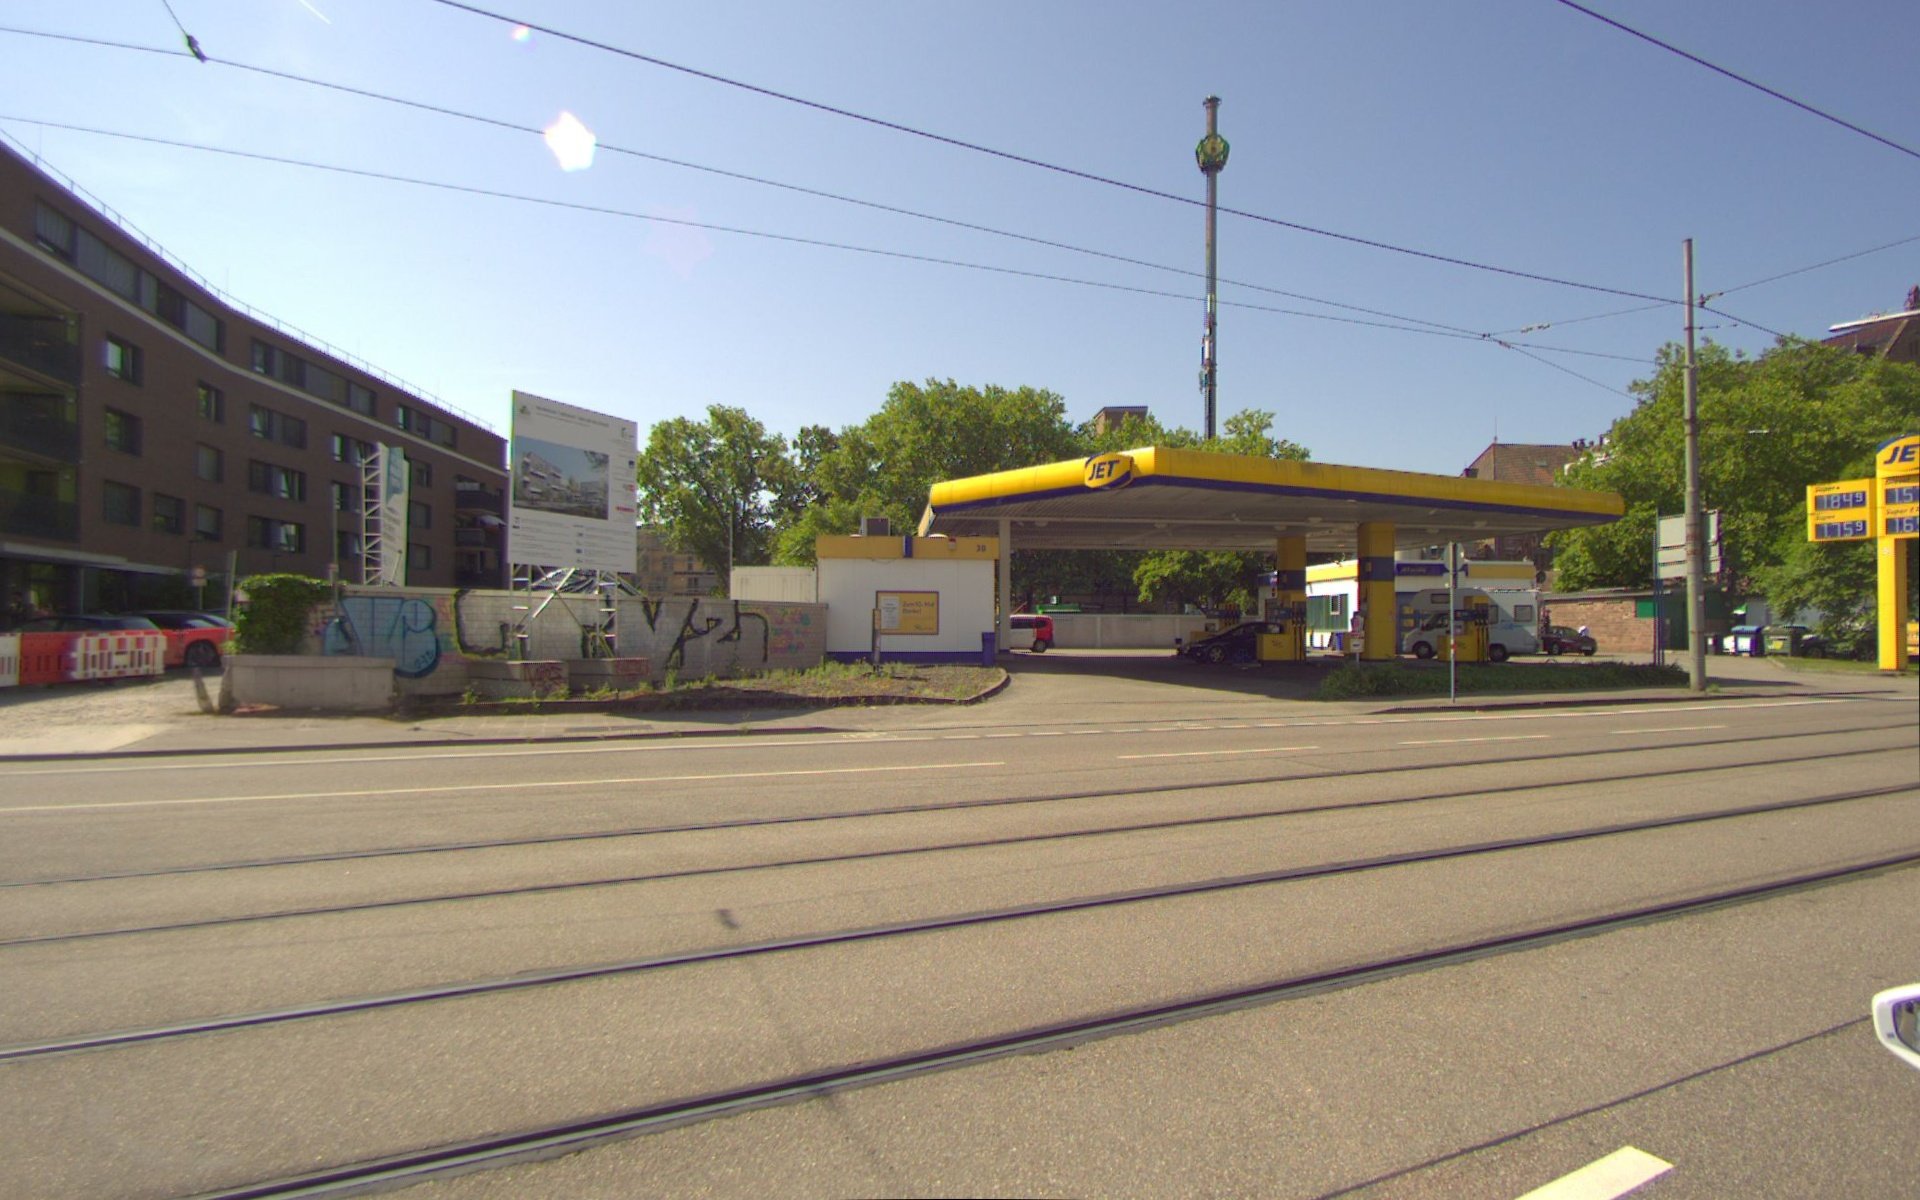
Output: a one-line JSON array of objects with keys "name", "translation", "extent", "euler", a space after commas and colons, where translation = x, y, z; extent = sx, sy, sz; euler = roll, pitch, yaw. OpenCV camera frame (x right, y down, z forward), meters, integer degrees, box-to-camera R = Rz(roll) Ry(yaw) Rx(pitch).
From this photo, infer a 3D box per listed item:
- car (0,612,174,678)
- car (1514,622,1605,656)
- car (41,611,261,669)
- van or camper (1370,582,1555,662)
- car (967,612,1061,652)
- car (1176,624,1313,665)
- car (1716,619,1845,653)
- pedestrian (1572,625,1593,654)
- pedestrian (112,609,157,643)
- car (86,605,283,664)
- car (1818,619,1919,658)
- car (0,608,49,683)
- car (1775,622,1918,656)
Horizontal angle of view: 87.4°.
[{"name": "car", "translation": [-20.576, 0.994, 22.691], "extent": [3.982, 1.384, 1.867], "euler": [1, -1, -8]}, {"name": "car", "translation": [29.908, 1.918, 50.256], "extent": [1.900, 1.547, 4.170], "euler": [1, -1, -3]}, {"name": "car", "translation": [-20.460, 1.004, 25.543], "extent": [3.978, 1.384, 1.869], "euler": [1, -1, -2]}, {"name": "van or camper", "translation": [21.266, 0.832, 42.698], "extent": [6.604, 3.007, 2.607], "euler": [3, 2, 37]}, {"name": "car", "translation": [2.624, 1.575, 49.706], "extent": [4.390, 1.786, 1.777], "euler": [2, 0, -6]}, {"name": "car", "translation": [9.945, 1.543, 35.287], "extent": [4.306, 1.320, 1.701], "euler": [1, 0, -5]}, {"name": "car", "translation": [40.184, 1.760, 49.303], "extent": [4.487, 1.604, 1.950], "euler": [0, -1, 16]}, {"name": "pedestrian", "translation": [32.014, 2.015, 51.644], "extent": [0.630, 1.488, 0.676], "euler": [1, -1, -20]}, {"name": "pedestrian", "translation": [-32.697, 1.027, 39.803], "extent": [0.999, 1.318, 1.118], "euler": [1, -1, -17]}, {"name": "car", "translation": [-21.825, 0.970, 28.438], "extent": [3.985, 1.552, 1.814], "euler": [1, -1, -12]}, {"name": "car", "translation": [40.524, 1.657, 43.684], "extent": [4.486, 1.646, 1.950], "euler": [0, -1, 16]}, {"name": "car", "translation": [-20.059, 0.904, 18.941], "extent": [1.765, 1.442, 4.002], "euler": [1, 0, 11]}, {"name": "car", "translation": [40.705, 1.774, 46.243], "extent": [4.486, 1.487, 1.950], "euler": [0, -1, 16]}]
